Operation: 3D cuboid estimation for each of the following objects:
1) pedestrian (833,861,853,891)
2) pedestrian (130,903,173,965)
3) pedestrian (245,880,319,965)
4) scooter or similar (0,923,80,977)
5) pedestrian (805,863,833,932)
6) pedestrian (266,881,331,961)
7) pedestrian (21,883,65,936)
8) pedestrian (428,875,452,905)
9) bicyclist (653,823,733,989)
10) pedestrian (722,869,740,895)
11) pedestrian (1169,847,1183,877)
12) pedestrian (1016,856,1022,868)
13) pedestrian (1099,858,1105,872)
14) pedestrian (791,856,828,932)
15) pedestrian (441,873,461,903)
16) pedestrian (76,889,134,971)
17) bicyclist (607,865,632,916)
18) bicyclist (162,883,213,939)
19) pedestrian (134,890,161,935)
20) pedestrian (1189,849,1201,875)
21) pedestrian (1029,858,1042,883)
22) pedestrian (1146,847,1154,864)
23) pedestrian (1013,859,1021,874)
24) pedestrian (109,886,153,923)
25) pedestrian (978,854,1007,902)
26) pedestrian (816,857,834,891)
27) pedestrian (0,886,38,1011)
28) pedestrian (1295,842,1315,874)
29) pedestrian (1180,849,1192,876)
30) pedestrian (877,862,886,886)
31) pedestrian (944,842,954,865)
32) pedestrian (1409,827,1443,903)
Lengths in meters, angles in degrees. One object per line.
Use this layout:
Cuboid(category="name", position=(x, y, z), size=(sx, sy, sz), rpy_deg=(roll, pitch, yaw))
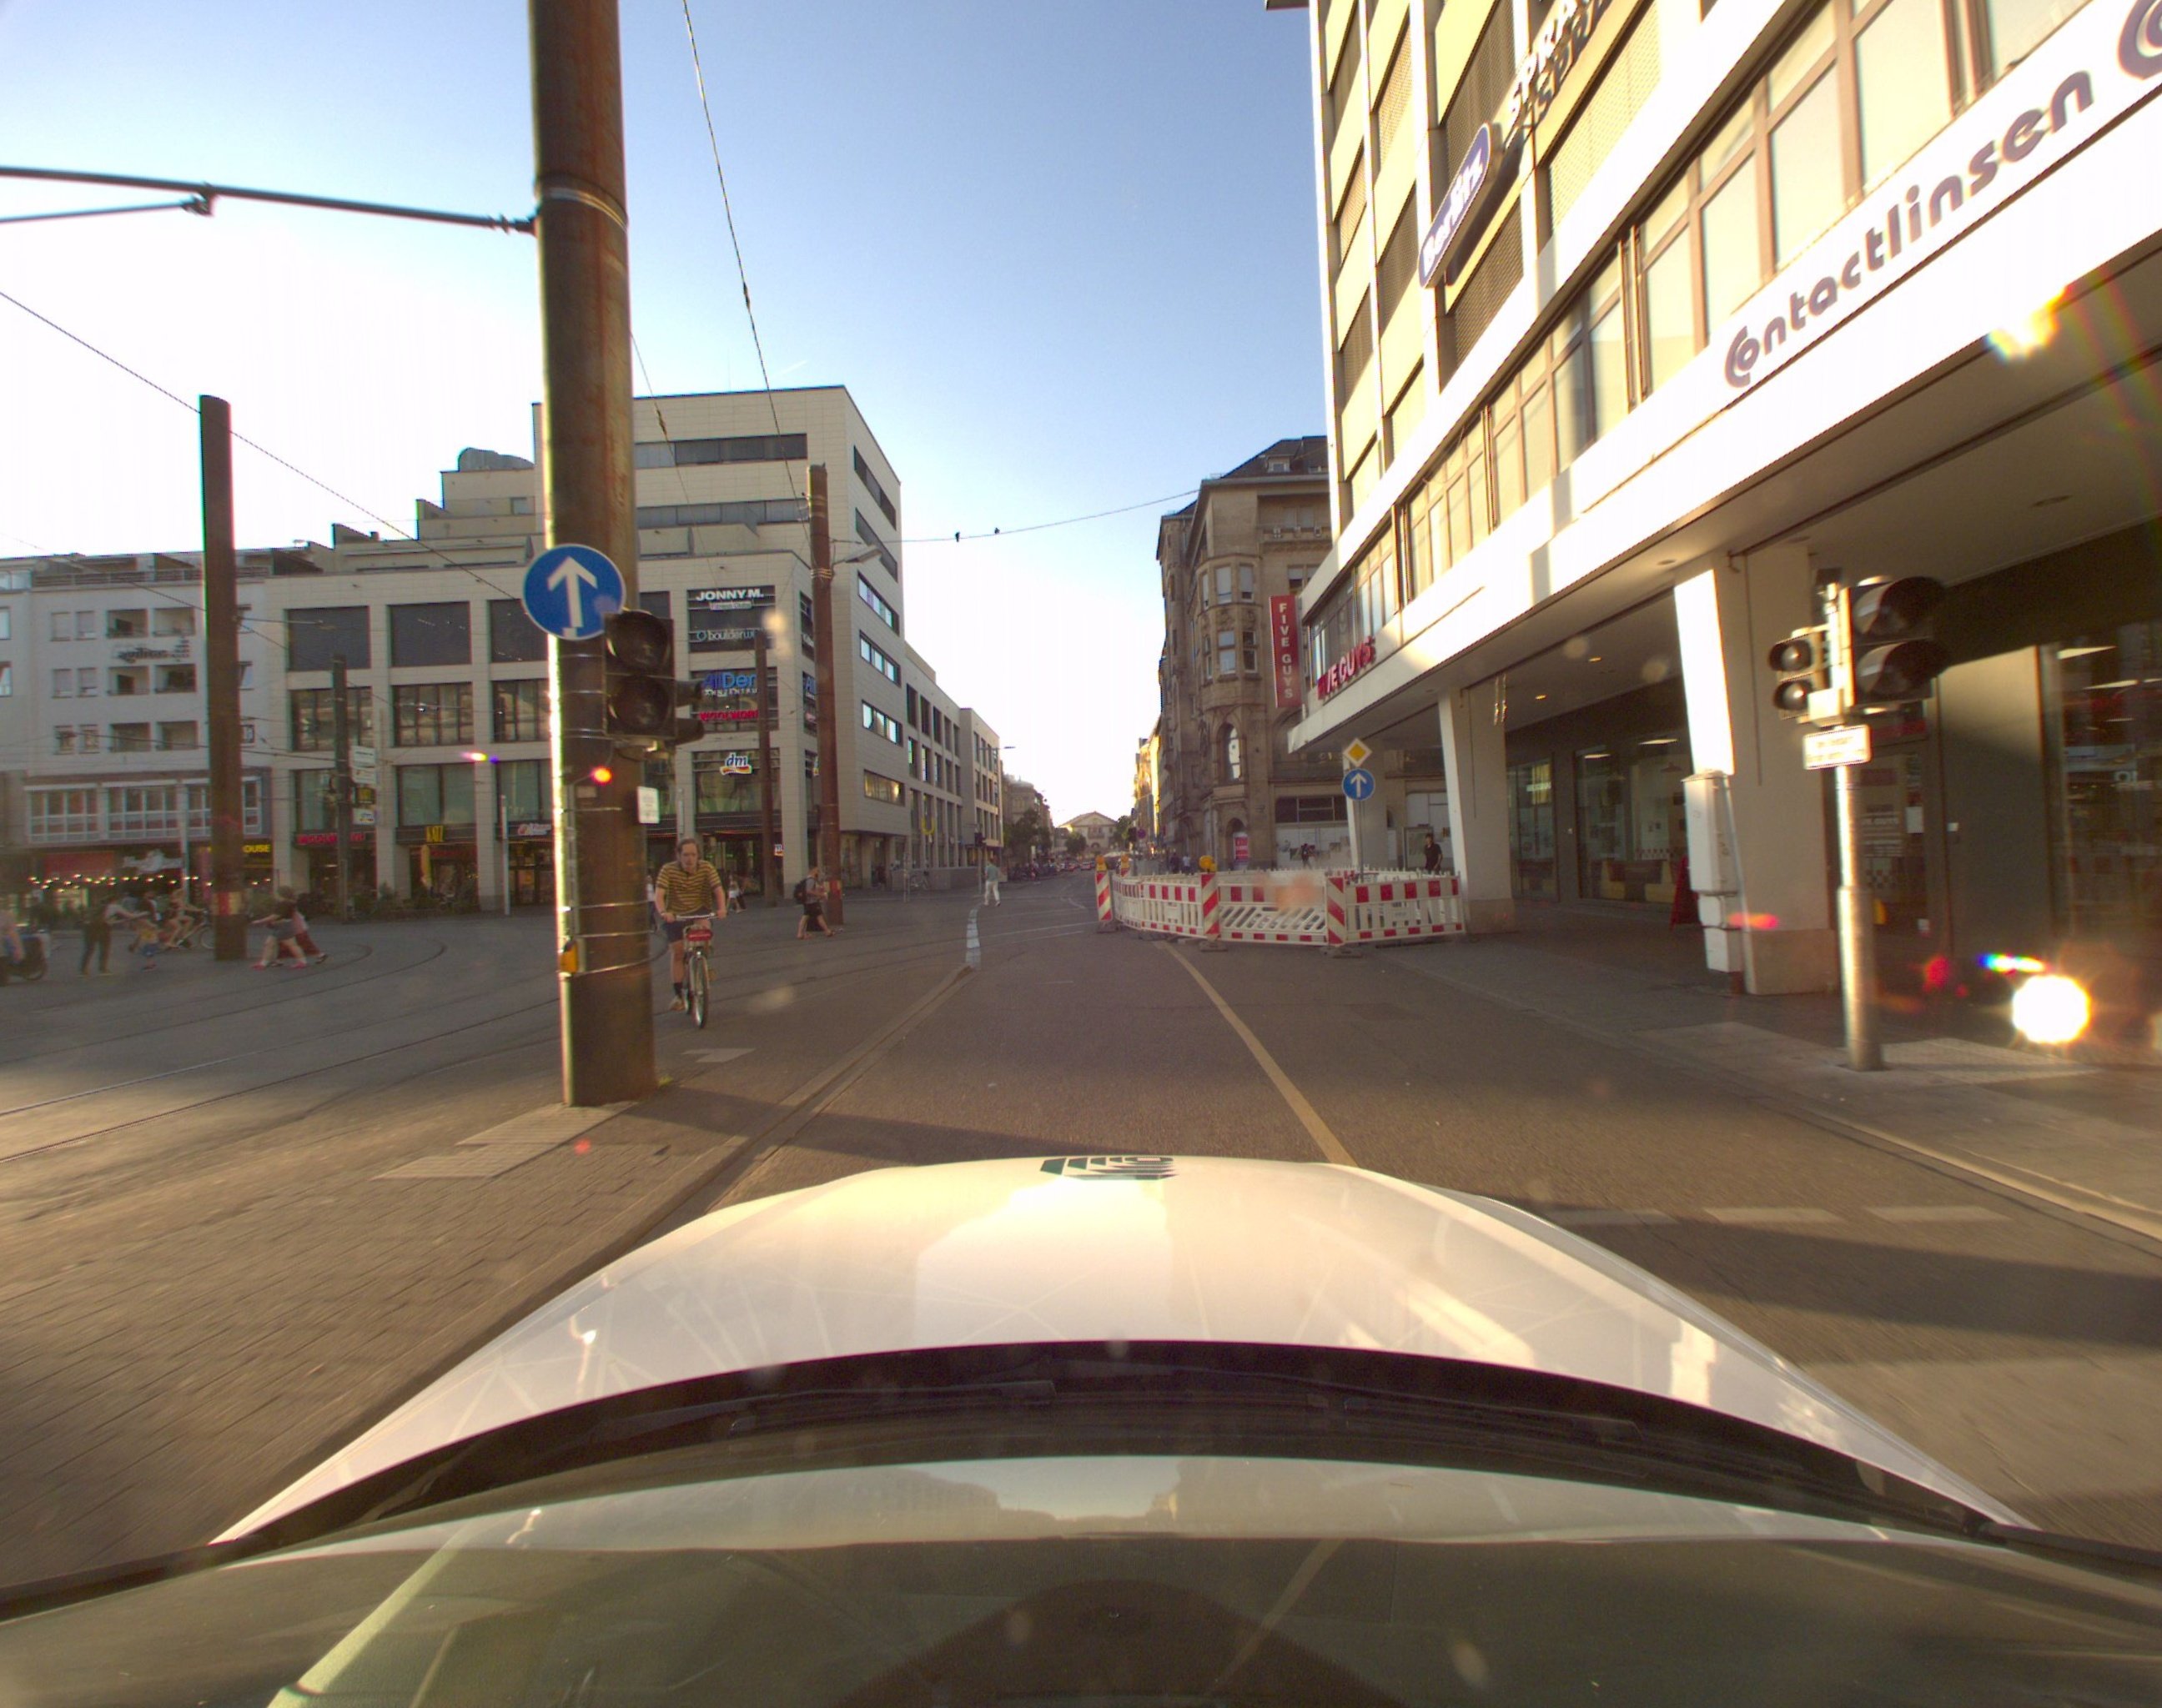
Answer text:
Cuboid(category="pedestrian", position=(-13.518, 1.228, 46.281), size=(0.760, 1.659, 0.820), rpy_deg=(-1, -1, 16))
Cuboid(category="pedestrian", position=(-19.376, 1.656, 16.984), size=(0.413, 1.243, 0.481), rpy_deg=(-2, 0, -25))
Cuboid(category="pedestrian", position=(-16.144, 1.367, 16.473), size=(0.824, 1.614, 0.688), rpy_deg=(-2, 0, -23))
Cuboid(category="scooter or similar", position=(-20.013, 1.820, 15.393), size=(1.088, 0.904, 0.891), rpy_deg=(-2, 0, 3))
Cuboid(category="pedestrian", position=(-6.291, 1.035, 19.536), size=(0.571, 1.593, 0.445), rpy_deg=(-2, -1, -22))
Cuboid(category="pedestrian", position=(-16.539, 1.397, 17.231), size=(0.773, 1.614, 0.662), rpy_deg=(-2, 0, -23))
Cuboid(category="pedestrian", position=(-33.962, 1.818, 26.652), size=(0.526, 1.674, 0.651), rpy_deg=(-2, 0, 3))
Cuboid(category="pedestrian", position=(-36.391, 2.018, 46.254), size=(0.810, 1.680, 0.684), rpy_deg=(-1, -1, 3))
Cuboid(category="bicyclist", position=(-3.964, 0.508, 8.373), size=(0.610, 1.593, 0.786), rpy_deg=(-2, -1, -20))
Cuboid(category="pedestrian", position=(-20.448, 1.632, 47.604), size=(0.569, 1.526, 0.793), rpy_deg=(-1, -1, 14))
Cuboid(category="pedestrian", position=(5.461, 0.477, 46.759), size=(0.623, 1.690, 0.671), rpy_deg=(-3, -1, 0))
Cuboid(category="pedestrian", position=(-9.031, 1.154, 118.375), size=(0.677, 1.621, 0.574), rpy_deg=(-2, -1, 1))
Cuboid(category="pedestrian", position=(2.817, 1.527, 111.250), size=(0.601, 1.823, 0.449), rpy_deg=(-2, -1, -20))
Cuboid(category="pedestrian", position=(-6.297, 0.910, 18.932), size=(0.746, 1.700, 0.606), rpy_deg=(-2, -1, -18))
Cuboid(category="pedestrian", position=(-36.408, 1.957, 47.072), size=(0.671, 1.680, 0.575), rpy_deg=(-1, -1, 3))
Cuboid(category="pedestrian", position=(-19.377, 1.493, 16.174), size=(0.643, 1.573, 0.482), rpy_deg=(-2, 0, 16))
Cuboid(category="bicyclist", position=(-13.295, 1.037, 23.475), size=(0.420, 1.427, 0.563), rpy_deg=(-1, -1, -4))
Cuboid(category="bicyclist", position=(-24.513, 1.545, 22.348), size=(0.878, 1.465, 0.592), rpy_deg=(0, -1, -41))
Cuboid(category="pedestrian", position=(-35.542, 2.222, 30.997), size=(0.676, 1.636, 0.589), rpy_deg=(-3, -1, 36))
Cuboid(category="pedestrian", position=(7.374, 0.521, 52.917), size=(0.623, 1.690, 0.626), rpy_deg=(-3, -1, 0))
Cuboid(category="pedestrian", position=(-3.253, 1.167, 58.259), size=(0.833, 1.720, 0.680), rpy_deg=(-2, -1, -6))
Cuboid(category="pedestrian", position=(6.946, 0.174, 81.961), size=(0.641, 1.690, 0.671), rpy_deg=(-3, -1, 0))
Cuboid(category="pedestrian", position=(-6.793, 1.289, 86.468), size=(0.748, 1.529, 0.485), rpy_deg=(-2, -1, 1))
Cuboid(category="pedestrian", position=(-43.981, 2.317, 37.722), size=(0.945, 1.636, 0.902), rpy_deg=(-3, -1, 5))
Cuboid(category="pedestrian", position=(-3.356, 0.901, 30.911), size=(0.859, 1.761, 0.770), rpy_deg=(-1, -1, 14))
Cuboid(category="pedestrian", position=(-14.172, 1.103, 45.119), size=(0.569, 1.855, 0.819), rpy_deg=(-1, -1, 14))
Cuboid(category="pedestrian", position=(-14.578, 1.254, 10.777), size=(0.824, 1.628, 0.809), rpy_deg=(-2, 0, 28))
Cuboid(category="pedestrian", position=(11.355, 0.214, 41.280), size=(0.816, 1.611, 0.713), rpy_deg=(-1, -1, 1))
Cuboid(category="pedestrian", position=(6.735, 0.530, 52.348), size=(0.623, 1.690, 0.671), rpy_deg=(-3, -1, 0))
Cuboid(category="pedestrian", position=(-12.891, 1.301, 52.595), size=(0.388, 1.515, 0.506), rpy_deg=(-2, -1, 1))
Cuboid(category="pedestrian", position=(-9.790, -0.001, 60.400), size=(0.679, 1.681, 0.600), rpy_deg=(-1, -1, -1))
Cuboid(category="pedestrian", position=(9.307, 0.289, 21.961), size=(0.698, 2.014, 0.474), rpy_deg=(-2, -1, 43))
